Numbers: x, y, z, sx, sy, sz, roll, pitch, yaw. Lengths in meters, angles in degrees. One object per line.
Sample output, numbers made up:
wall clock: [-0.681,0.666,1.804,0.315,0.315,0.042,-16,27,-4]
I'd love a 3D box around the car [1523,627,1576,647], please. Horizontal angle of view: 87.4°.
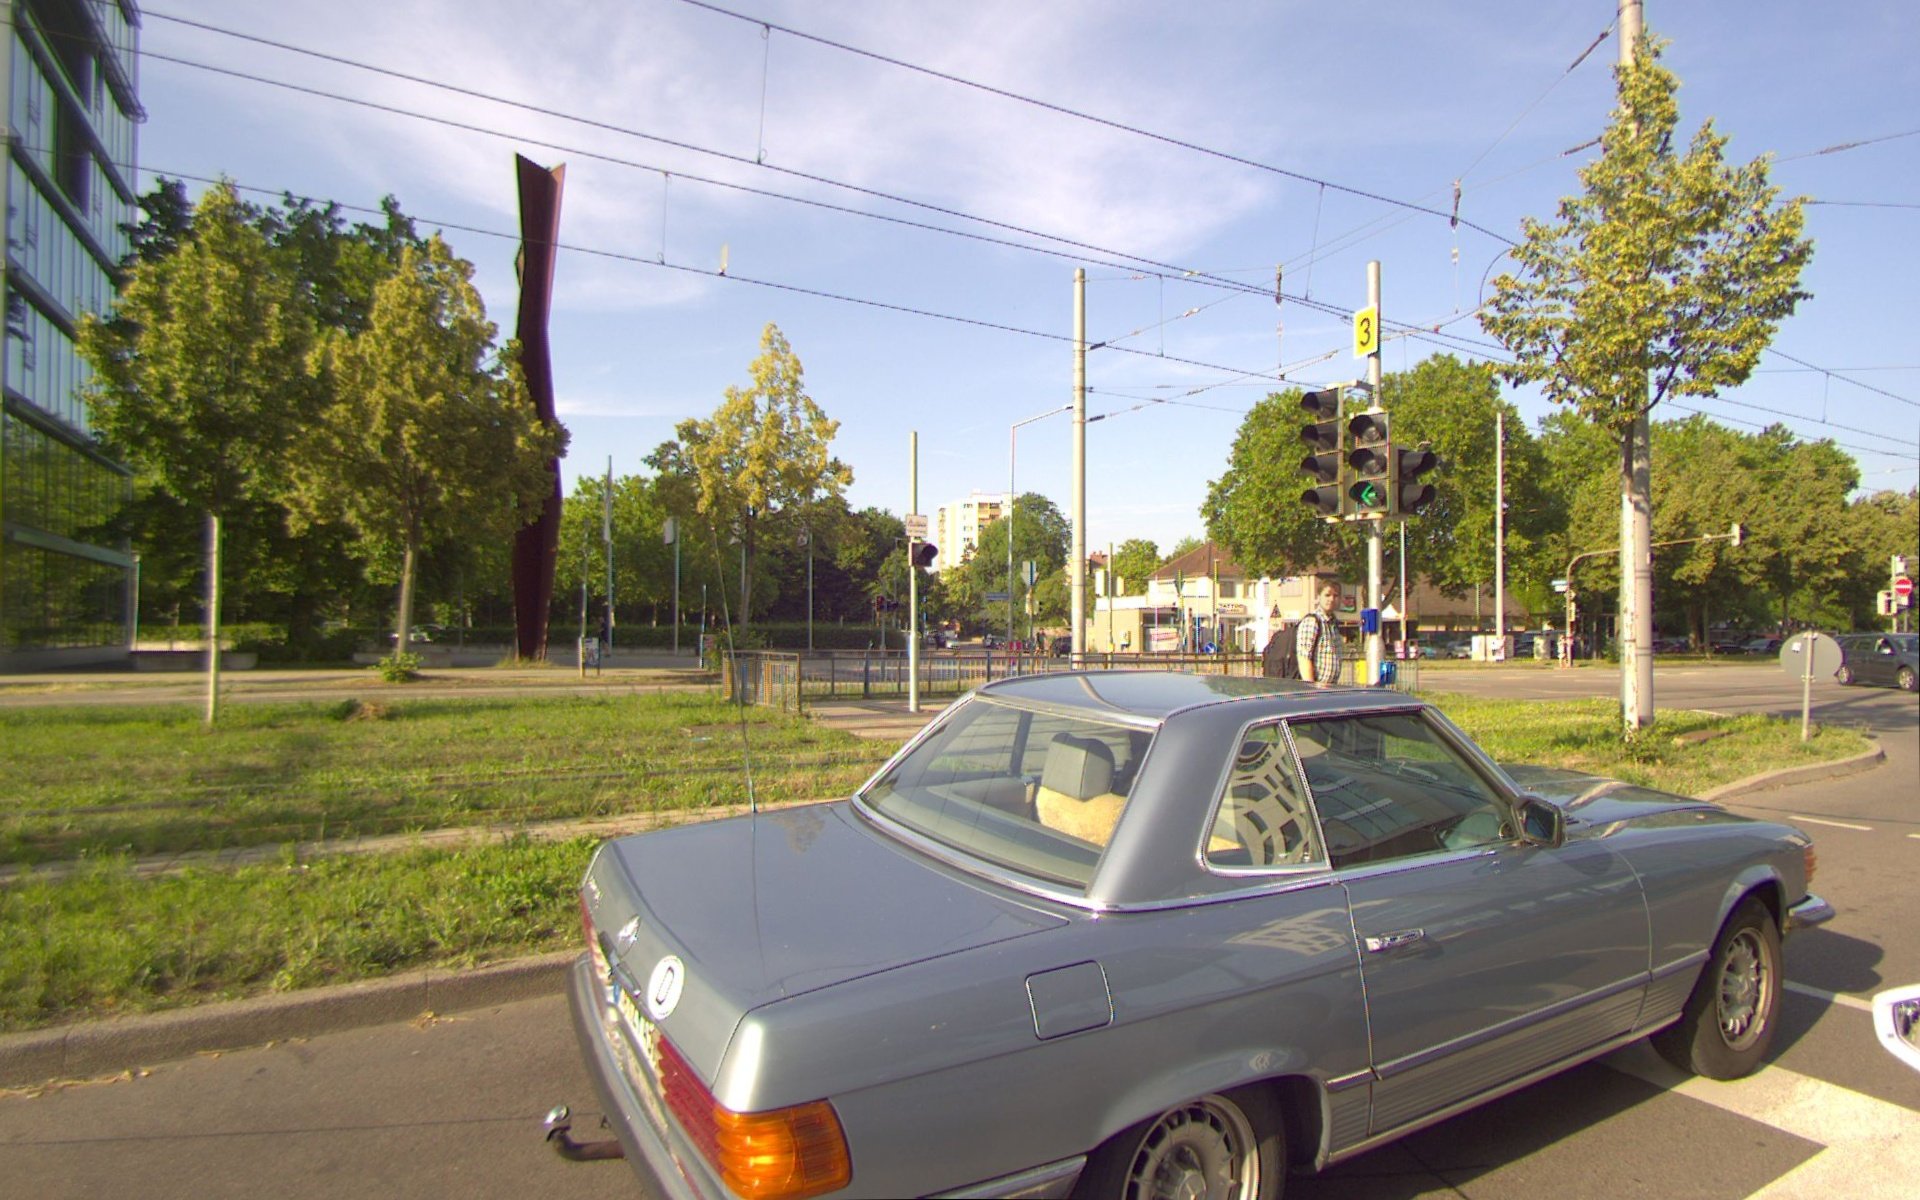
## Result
car: [47.870,3.043,81.576,3.945,1.580,1.876,1,-2,-25]

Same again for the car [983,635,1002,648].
car: [3.957,5.060,123.445,1.667,1.491,3.941,0,-2,-8]

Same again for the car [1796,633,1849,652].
car: [72.115,3.556,83.984,3.945,1.580,1.876,1,-2,-25]

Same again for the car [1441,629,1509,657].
car: [33.432,2.766,65.210,3.945,1.773,1.876,1,-2,-25]

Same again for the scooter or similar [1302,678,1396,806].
scooter or similar: [3.078,1.105,7.969,0.424,0.919,0.546,1,0,-29]

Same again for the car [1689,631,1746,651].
car: [58.618,3.173,77.729,3.945,1.580,1.876,1,-2,-25]

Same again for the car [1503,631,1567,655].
car: [38.819,2.930,67.824,3.945,1.580,1.876,1,-2,-25]

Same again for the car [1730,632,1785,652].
car: [63.602,3.321,80.087,3.945,1.580,1.876,1,-2,-25]

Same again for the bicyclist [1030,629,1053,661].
bicyclist: [3.861,2.146,47.734,0.836,1.512,0.697,-1,-2,38]

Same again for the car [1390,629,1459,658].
car: [29.208,2.714,63.134,3.945,1.773,1.876,1,-2,-25]

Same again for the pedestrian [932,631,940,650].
pedestrian: [-2.116,3.577,88.039,0.654,1.654,0.664,0,-1,-2]

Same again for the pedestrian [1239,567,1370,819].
pedestrian: [2.629,0.671,7.695,0.628,1.816,0.696,1,0,-29]

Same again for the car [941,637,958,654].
car: [-1.219,5.127,113.633,1.961,1.806,4.000,0,-2,-1]

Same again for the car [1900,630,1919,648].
car: [87.799,3.582,91.471,3.945,1.580,1.876,1,-2,-25]

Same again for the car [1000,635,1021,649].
car: [5.577,4.697,111.827,1.667,1.491,3.941,0,-2,-8]

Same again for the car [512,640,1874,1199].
car: [1.011,0.851,3.267,4.349,1.348,1.755,1,-1,-31]

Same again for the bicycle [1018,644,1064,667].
bicycle: [3.847,2.626,47.731,2.168,1.055,0.697,-1,-2,38]

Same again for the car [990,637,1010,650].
car: [4.664,5.101,117.656,1.667,1.491,3.941,0,-2,-8]

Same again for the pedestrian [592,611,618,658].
pedestrian: [-16.734,1.641,47.362,0.864,2.135,0.724,3,-3,0]

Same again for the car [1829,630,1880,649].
car: [76.687,3.354,86.093,3.945,1.580,1.876,1,-2,-25]

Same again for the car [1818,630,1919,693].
car: [24.680,1.543,26.165,1.699,1.481,4.577,0,-1,15]

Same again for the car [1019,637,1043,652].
car: [7.050,4.449,100.314,1.667,1.491,3.941,0,-2,-8]

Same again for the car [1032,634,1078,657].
car: [7.451,3.554,79.242,1.971,1.750,3.979,1,-2,-22]
